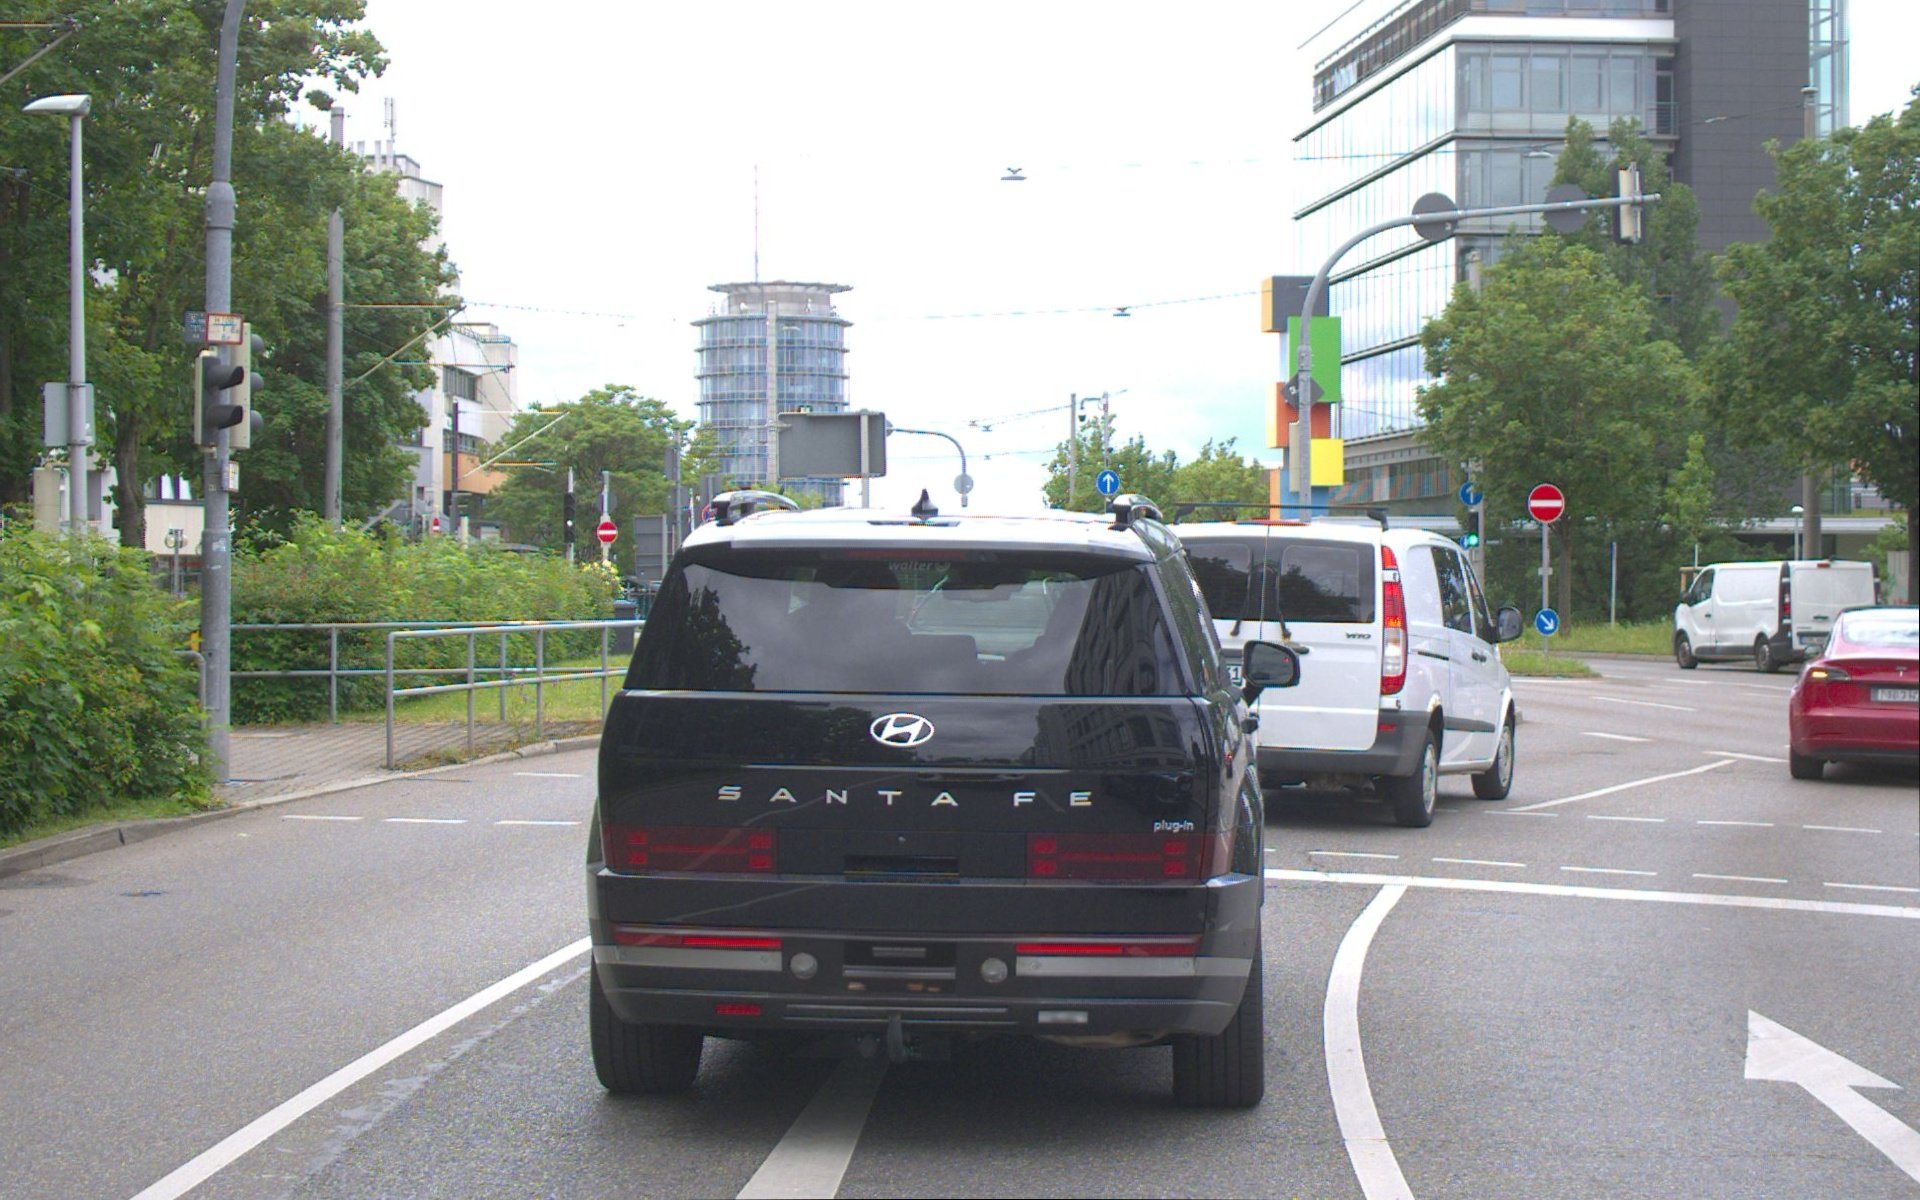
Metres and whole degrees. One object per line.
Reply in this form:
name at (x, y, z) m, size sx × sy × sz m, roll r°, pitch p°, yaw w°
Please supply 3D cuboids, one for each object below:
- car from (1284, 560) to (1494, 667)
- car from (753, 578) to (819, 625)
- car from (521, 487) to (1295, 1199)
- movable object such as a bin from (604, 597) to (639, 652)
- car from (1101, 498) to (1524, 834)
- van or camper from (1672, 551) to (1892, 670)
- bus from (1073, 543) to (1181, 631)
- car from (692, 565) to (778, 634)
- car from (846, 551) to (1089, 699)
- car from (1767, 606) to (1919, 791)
car at (6.829, 0.187, 55.234) m, size 1.887 × 1.559 × 4.397 m, roll 1°, pitch 1°, yaw -13°
car at (-5.492, 0.057, 108.285) m, size 1.798 × 1.450 × 4.613 m, roll 0°, pitch 0°, yaw -6°
car at (0.030, 0.588, 10.852) m, size 1.902 × 1.725 × 4.445 m, roll 2°, pitch 1°, yaw 4°
movable object such as a bin at (-6.303, 0.454, 63.987) m, size 0.563 × 1.009 × 0.838 m, roll 1°, pitch 0°, yaw -10°
car at (2.480, 0.385, 23.005) m, size 1.904 × 1.962 × 4.632 m, roll 2°, pitch 1°, yaw 17°
van or camper at (14.249, 0.156, 59.889) m, size 1.993 × 1.911 × 4.410 m, roll 1°, pitch 1°, yaw -12°
bus at (6.180, -0.459, 128.491) m, size 2.966 × 3.106 × 9.245 m, roll -1°, pitch 0°, yaw -4°
car at (-5.535, -0.037, 84.222) m, size 1.782 × 1.532 × 4.397 m, roll 1°, pitch 1°, yaw -8°
car at (0.157, 0.227, 35.848) m, size 1.846 × 1.432 × 4.704 m, roll -1°, pitch 0°, yaw 9°
car at (8.072, 0.785, 29.171) m, size 1.875 × 1.413 × 4.438 m, roll 2°, pitch 1°, yaw 19°
